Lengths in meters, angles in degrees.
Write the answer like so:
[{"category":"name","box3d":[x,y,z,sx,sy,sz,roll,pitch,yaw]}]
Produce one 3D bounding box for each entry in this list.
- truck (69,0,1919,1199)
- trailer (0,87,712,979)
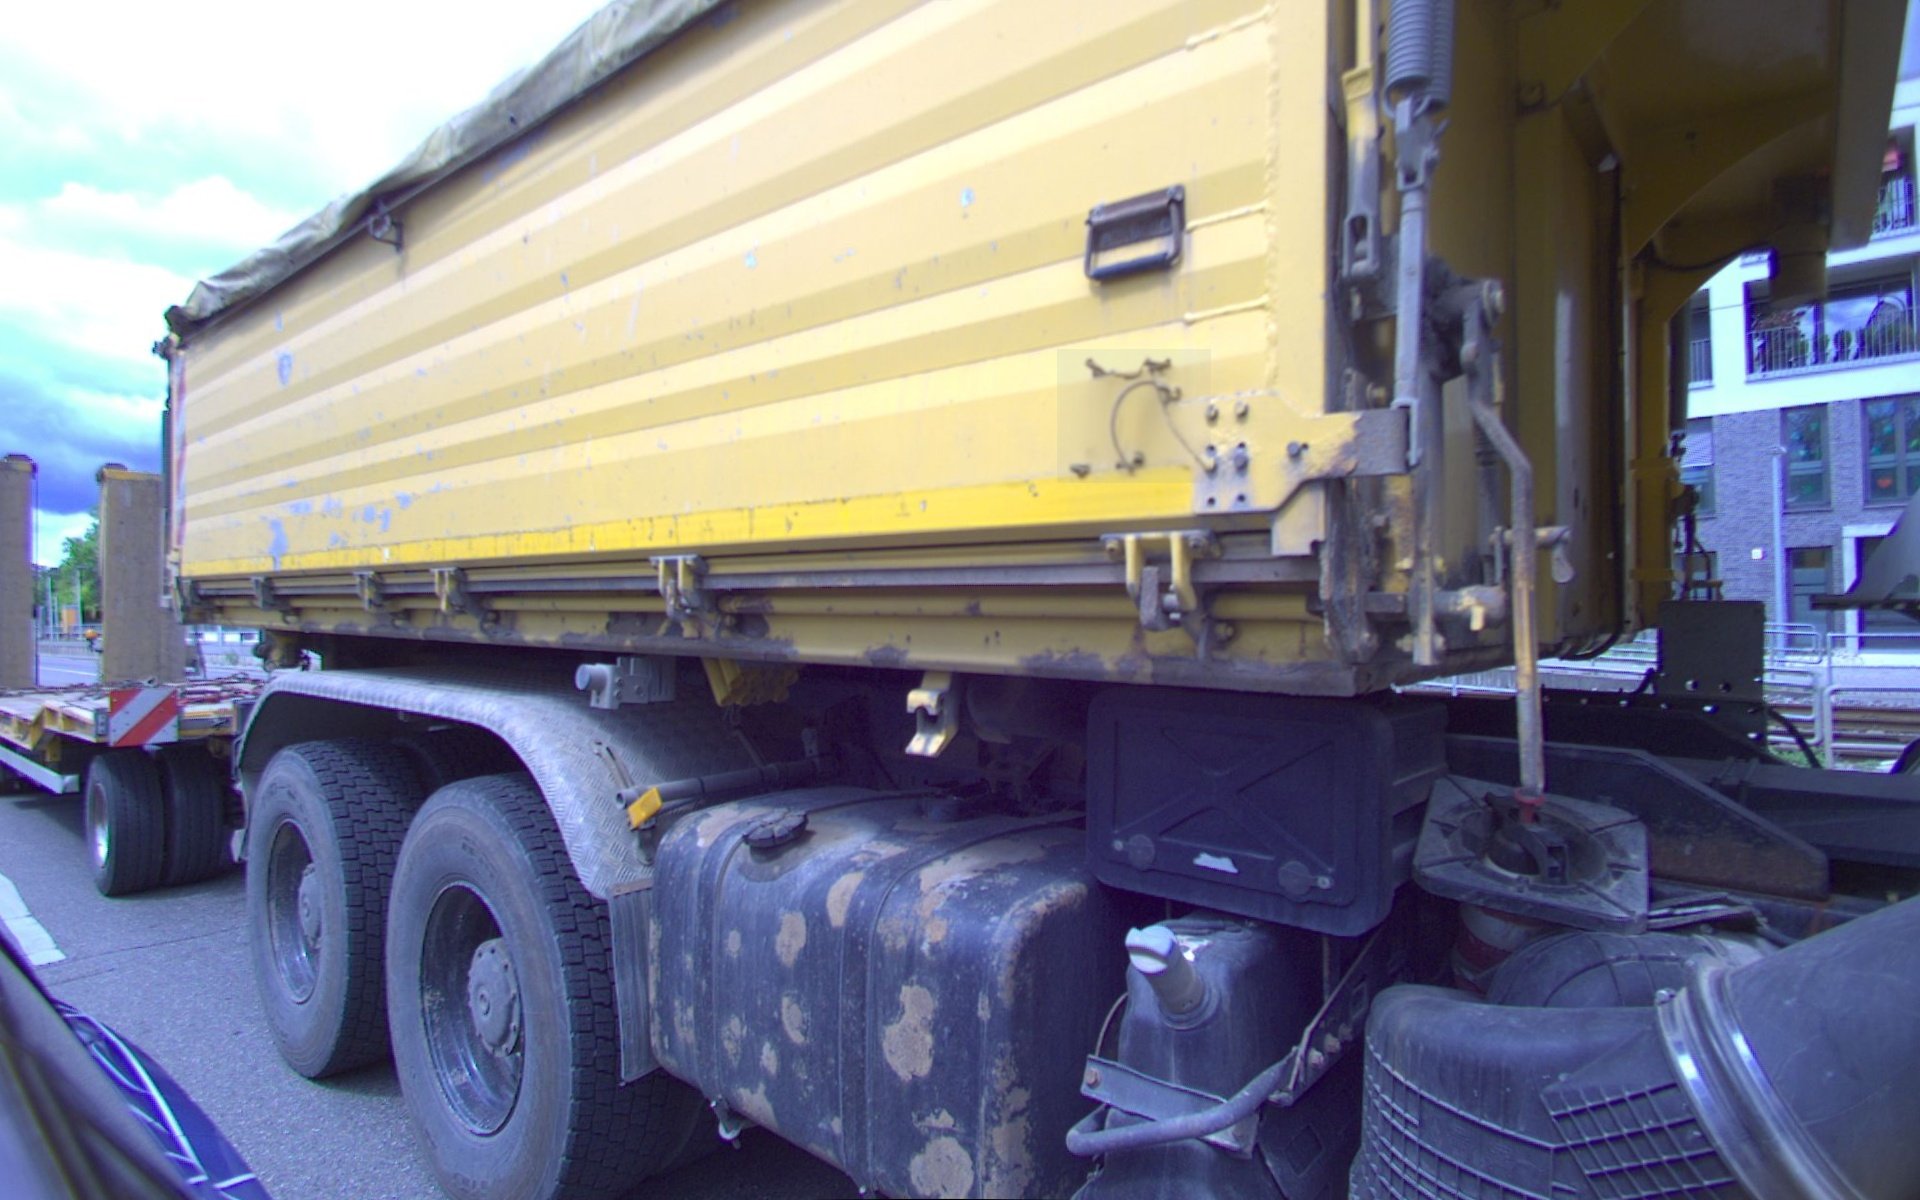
[{"category":"truck","box3d":[0.265,-0.244,2.856,7.999,3.420,3.019,-2,-1,40]},{"category":"trailer","box3d":[-6.769,-0.155,8.935,10.957,3.726,3.018,-2,-1,40]}]
